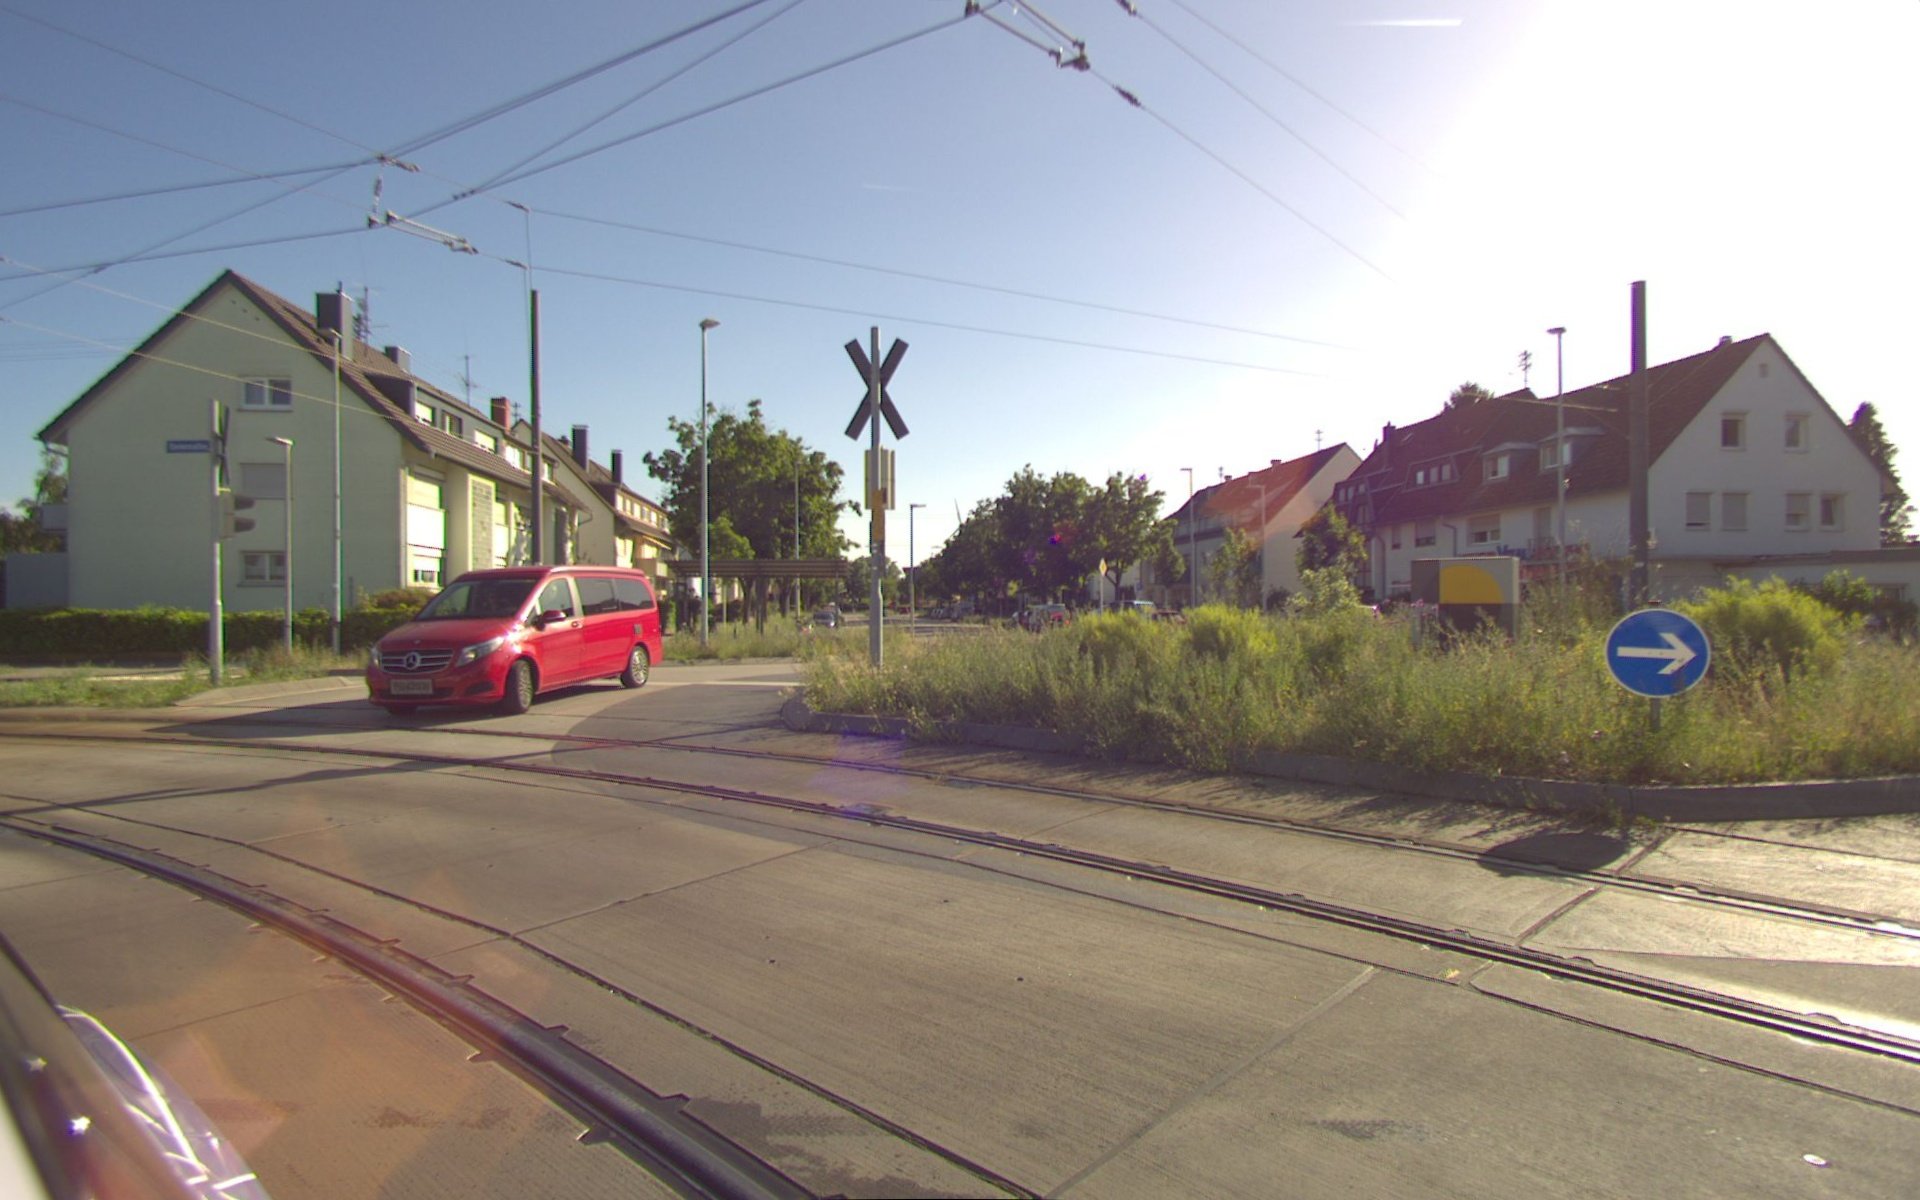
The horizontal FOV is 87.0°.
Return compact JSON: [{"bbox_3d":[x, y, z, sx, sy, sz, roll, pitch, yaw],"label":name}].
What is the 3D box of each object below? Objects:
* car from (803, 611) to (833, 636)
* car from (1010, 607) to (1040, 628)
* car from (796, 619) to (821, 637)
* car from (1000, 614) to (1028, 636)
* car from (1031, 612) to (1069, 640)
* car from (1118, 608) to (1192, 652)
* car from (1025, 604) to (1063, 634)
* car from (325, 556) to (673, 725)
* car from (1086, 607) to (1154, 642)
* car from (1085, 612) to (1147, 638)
[{"bbox_3d":[-9.088,1.492,65.070,1.799,1.403,3.796,0,1,-6],"label":"car"},{"bbox_3d":[5.042,1.327,78.719,1.521,1.604,4.084,-1,0,-8],"label":"car"},{"bbox_3d":[-11.987,2.204,80.269,1.799,1.403,3.874,0,-1,-6],"label":"car"},{"bbox_3d":[4.377,2.024,83.084,1.527,1.689,4.228,0,-1,-8],"label":"car"},{"bbox_3d":[5.862,1.685,66.651,1.896,1.628,4.287,0,1,-3],"label":"car"},{"bbox_3d":[8.588,1.264,44.898,1.969,1.711,4.378,0,1,-7],"label":"car"},{"bbox_3d":[6.024,1.328,73.006,1.867,2.029,4.378,0,1,-7],"label":"car"},{"bbox_3d":[-6.275,0.432,14.685,1.978,1.996,5.222,-1,1,10],"label":"car"},{"bbox_3d":[7.929,1.198,50.150,3.059,1.632,1.399,0,1,24],"label":"car"},{"bbox_3d":[8.422,1.333,54.617,3.138,1.307,1.375,0,1,19],"label":"car"}]
